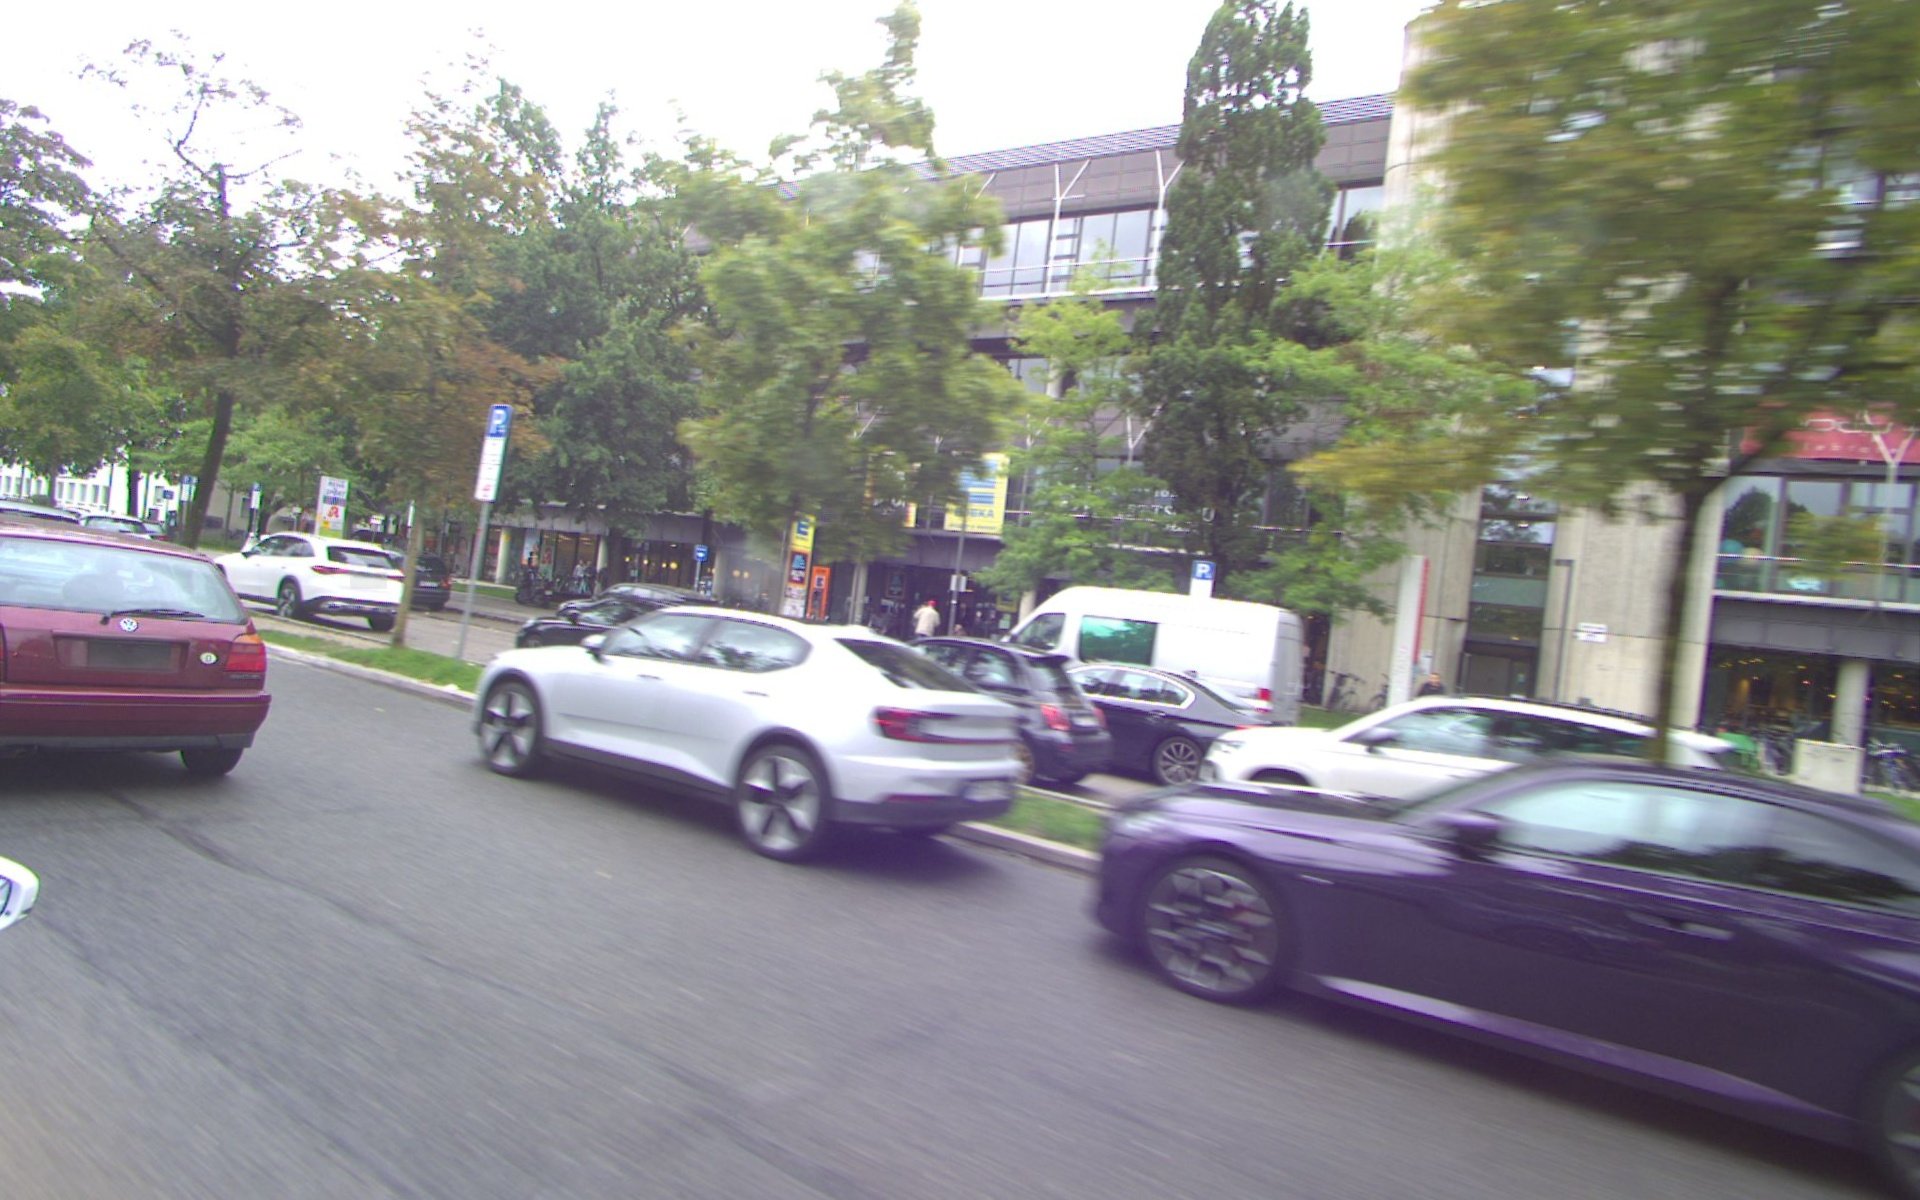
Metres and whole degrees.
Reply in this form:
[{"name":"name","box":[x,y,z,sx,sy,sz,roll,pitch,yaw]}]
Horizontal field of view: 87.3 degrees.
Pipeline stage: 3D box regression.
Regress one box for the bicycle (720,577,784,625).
[{"name":"bicycle","box":[-7.833,0.065,37.978,0.784,1.526,2.617,7,-1,26]}]

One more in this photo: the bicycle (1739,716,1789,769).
[{"name":"bicycle","box":[21.055,3.709,26.383,0.577,1.219,2.141,7,-1,30]}]

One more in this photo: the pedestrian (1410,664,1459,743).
[{"name":"pedestrian","box":[9.635,2.091,20.431,0.668,1.495,0.396,7,0,39]}]

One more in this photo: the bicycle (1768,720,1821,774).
[{"name":"bicycle","box":[21.606,3.777,26.080,0.577,1.219,2.141,7,-1,30]}]

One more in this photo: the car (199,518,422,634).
[{"name":"car","box":[-12.651,-0.492,19.503,4.701,1.652,1.687,7,-1,32]}]

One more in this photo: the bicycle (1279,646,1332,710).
[{"name":"bicycle","box":[9.266,2.051,27.062,0.783,1.526,2.620,7,-1,11]}]

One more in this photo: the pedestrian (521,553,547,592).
[{"name":"pedestrian","box":[-20.510,-1.323,48.427,0.686,1.724,0.682,7,-1,32]}]

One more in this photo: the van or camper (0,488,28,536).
[{"name":"van or camper","box":[-44.020,-4.152,45.283,4.236,1.998,1.947,7,-1,33]}]

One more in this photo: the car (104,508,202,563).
[{"name":"car","box":[-30.557,-2.452,38.063,3.963,1.604,1.686,7,-1,34]}]

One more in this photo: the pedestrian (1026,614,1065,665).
[{"name":"pedestrian","box":[2.909,1.347,34.200,0.955,1.598,0.689,7,0,33]}]

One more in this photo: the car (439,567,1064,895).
[{"name":"car","box":[-1.672,0.796,7.519,4.436,1.470,1.711,7,-3,31]}]

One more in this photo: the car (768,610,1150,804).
[{"name":"car","box":[-0.077,1.116,11.468,3.943,1.471,1.686,7,-1,32]}]

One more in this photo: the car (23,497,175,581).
[{"name":"car","box":[-21.628,-1.549,25.237,3.961,1.604,1.687,7,-1,32]}]

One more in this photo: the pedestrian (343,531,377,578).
[{"name":"pedestrian","box":[-23.495,-1.783,39.399,0.690,1.727,0.748,7,0,32]}]

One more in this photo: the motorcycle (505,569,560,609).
[{"name":"motorcycle","box":[-14.428,-0.375,33.935,2.017,1.156,0.605,7,3,32]}]

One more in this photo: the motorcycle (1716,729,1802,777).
[{"name":"motorcycle","box":[19.359,3.688,24.405,1.545,0.876,0.851,7,-1,40]}]

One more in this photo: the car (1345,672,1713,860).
[{"name":"car","box":[7.543,2.104,13.634,3.943,1.684,1.750,7,-1,32]}]

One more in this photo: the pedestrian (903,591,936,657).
[{"name":"pedestrian","box":[-1.198,0.706,29.570,0.533,1.852,0.678,7,0,20]}]

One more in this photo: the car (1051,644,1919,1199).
[{"name":"car","box":[2.835,1.297,4.639,4.351,1.564,1.767,7,-1,32]}]

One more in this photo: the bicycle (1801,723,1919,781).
[{"name":"bicycle","box":[18.779,3.165,20.865,2.366,0.880,0.769,8,0,-14]}]

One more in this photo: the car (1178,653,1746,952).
[{"name":"car","box":[4.169,1.554,8.828,3.941,1.604,1.687,7,-1,30]}]

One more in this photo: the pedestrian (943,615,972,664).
[{"name":"pedestrian","box":[-0.073,1.154,29.196,0.541,1.329,0.559,7,0,21]}]

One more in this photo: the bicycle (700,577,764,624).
[{"name":"bicycle","box":[-8.712,0.035,38.586,0.784,1.526,2.617,7,-1,26]}]

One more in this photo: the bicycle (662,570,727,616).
[{"name":"bicycle","box":[-10.416,-0.240,39.586,0.784,1.526,2.617,7,-1,26]}]

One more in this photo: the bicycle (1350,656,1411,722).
[{"name":"bicycle","box":[11.068,2.303,26.596,0.783,1.526,2.620,7,-1,11]}]

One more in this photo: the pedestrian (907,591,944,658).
[{"name":"pedestrian","box":[-0.994,0.720,29.043,0.668,1.852,0.559,7,0,21]}]

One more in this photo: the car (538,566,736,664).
[{"name":"car","box":[-7.488,0.320,23.175,4.422,1.652,1.687,7,-1,30]}]

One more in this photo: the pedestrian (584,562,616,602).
[{"name":"pedestrian","box":[-16.968,-0.855,47.401,0.785,1.724,0.964,7,-1,32]}]

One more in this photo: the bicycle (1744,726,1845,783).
[{"name":"bicycle","box":[18.265,3.377,22.010,2.020,0.969,0.743,8,0,-21]}]

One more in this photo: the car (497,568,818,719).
[{"name":"car","box":[-4.380,0.563,14.240,4.658,1.471,1.686,7,-1,34]}]

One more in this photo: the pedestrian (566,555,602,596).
[{"name":"pedestrian","box":[-17.956,-1.157,48.048,1.029,1.724,1.018,7,-1,32]}]

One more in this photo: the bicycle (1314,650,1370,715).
[{"name":"bicycle","box":[10.174,2.171,26.900,0.783,1.526,2.620,7,-1,11]}]

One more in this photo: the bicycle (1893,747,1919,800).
[{"name":"bicycle","box":[19.459,3.501,19.658,2.016,0.969,0.744,8,0,-14]}]

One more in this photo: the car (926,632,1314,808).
[{"name":"car","box":[2.045,1.493,13.548,4.758,1.471,1.687,7,-1,32]}]

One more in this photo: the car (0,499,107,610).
[{"name":"car","box":[-16.143,-0.925,16.713,4.383,1.543,1.687,7,-2,33]}]

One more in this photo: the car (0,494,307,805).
[{"name":"car","box":[-5.942,0.086,6.175,3.884,1.471,1.625,7,-1,32]}]

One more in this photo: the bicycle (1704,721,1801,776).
[{"name":"bicycle","box":[17.928,3.357,22.760,2.020,0.969,0.743,8,0,-21]}]

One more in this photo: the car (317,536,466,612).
[{"name":"car","box":[-16.485,-0.776,29.122,4.309,1.652,1.687,7,-1,30]}]

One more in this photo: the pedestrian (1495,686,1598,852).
[{"name":"pedestrian","box":[7.384,2.083,12.682,0.888,1.874,0.876,7,1,31]}]

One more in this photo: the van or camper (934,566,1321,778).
[{"name":"van or camper","box":[2.682,1.063,16.925,5.858,2.589,2.026,7,0,32]}]

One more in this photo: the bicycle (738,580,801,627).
[{"name":"bicycle","box":[-7.086,0.159,37.560,0.784,1.526,2.617,7,-1,26]}]

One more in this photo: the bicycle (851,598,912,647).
[{"name":"bicycle","box":[-2.749,0.830,35.612,0.784,1.526,2.617,7,-1,26]}]
